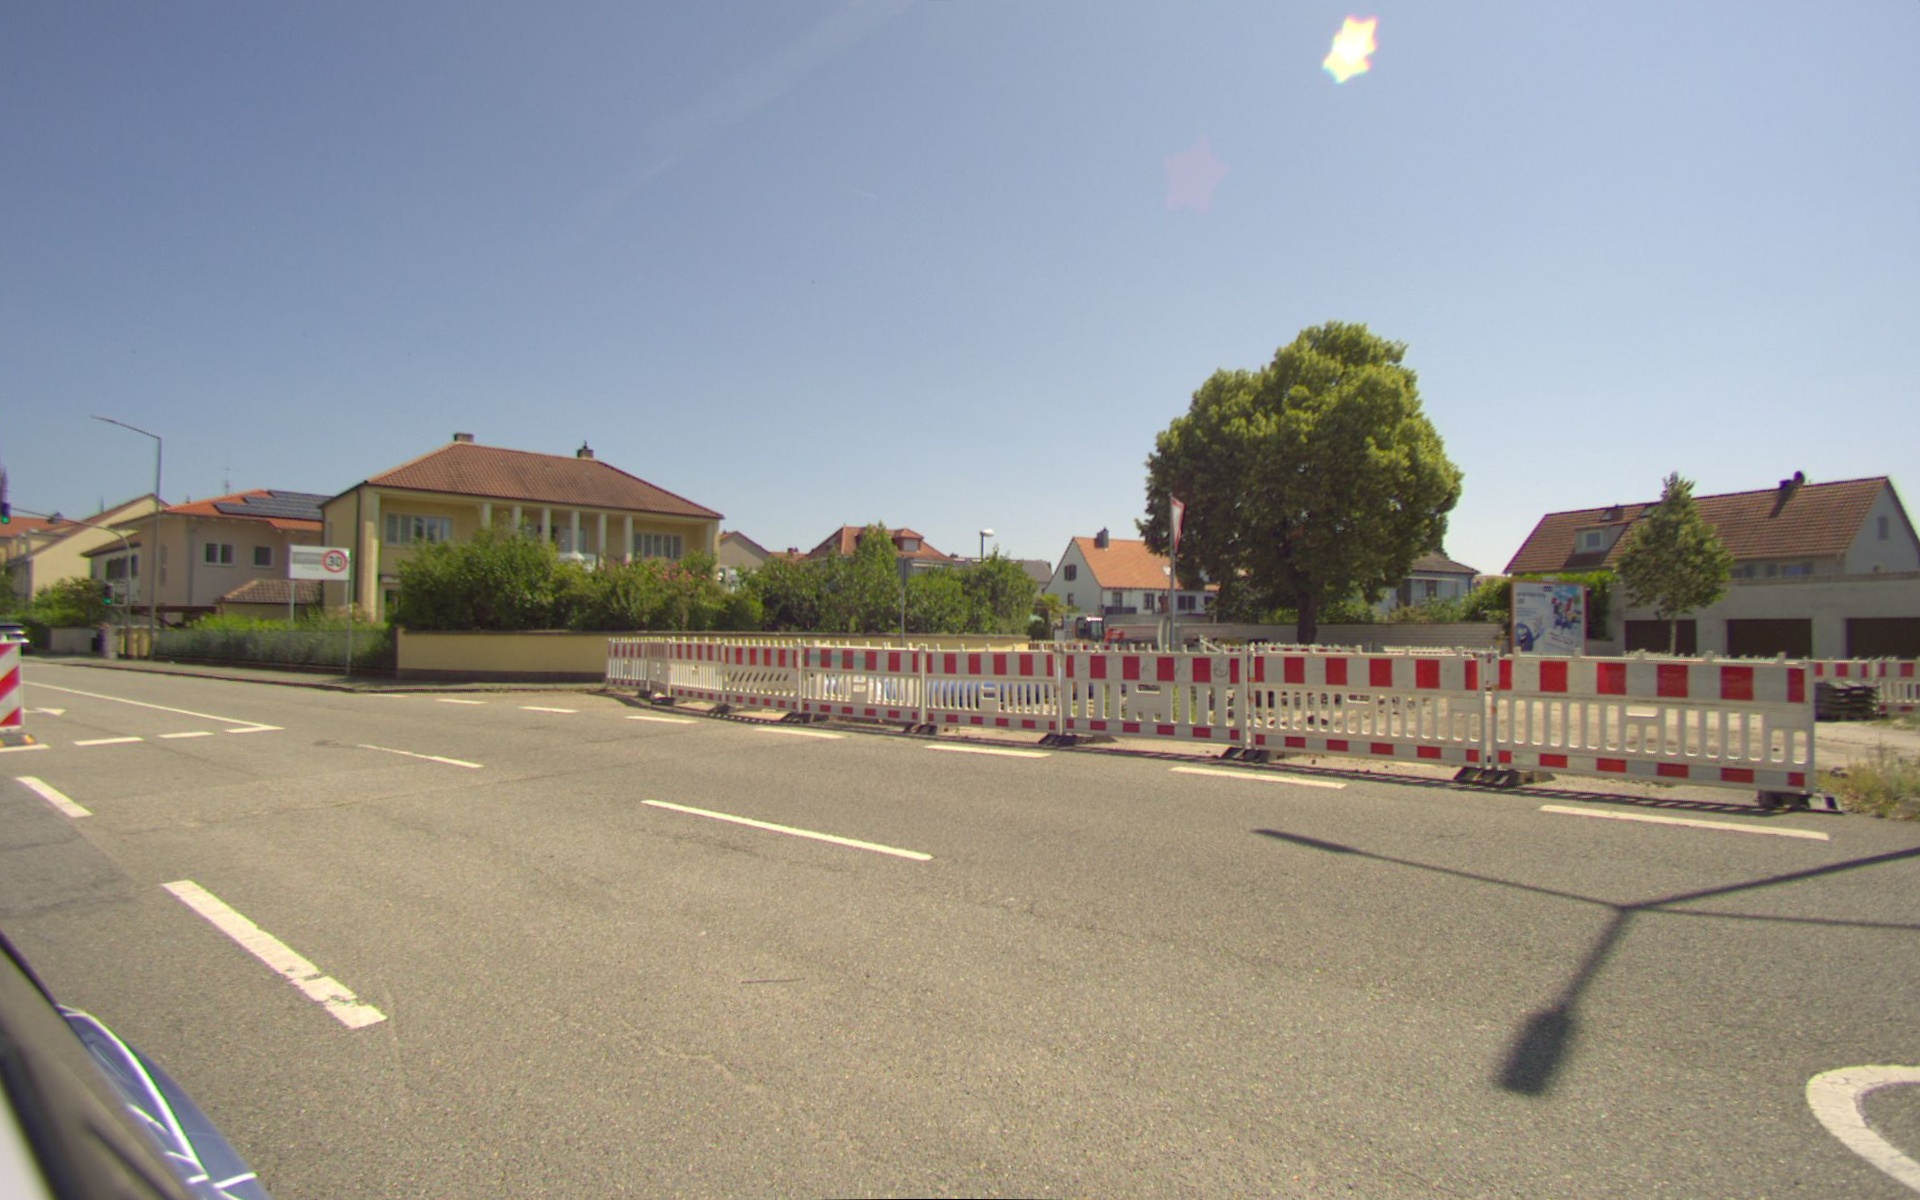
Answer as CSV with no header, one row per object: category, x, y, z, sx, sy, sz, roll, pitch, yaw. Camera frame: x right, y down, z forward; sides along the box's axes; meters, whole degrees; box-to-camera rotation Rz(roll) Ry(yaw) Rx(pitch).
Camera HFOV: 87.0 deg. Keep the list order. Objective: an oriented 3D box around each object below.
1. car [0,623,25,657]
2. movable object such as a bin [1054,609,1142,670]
car,-45.973,1.918,48.382,3.318,1.589,1.372,-1,-3,39
movable object such as a bin,6.551,1.901,48.418,2.239,2.756,3.942,2,-3,-29
